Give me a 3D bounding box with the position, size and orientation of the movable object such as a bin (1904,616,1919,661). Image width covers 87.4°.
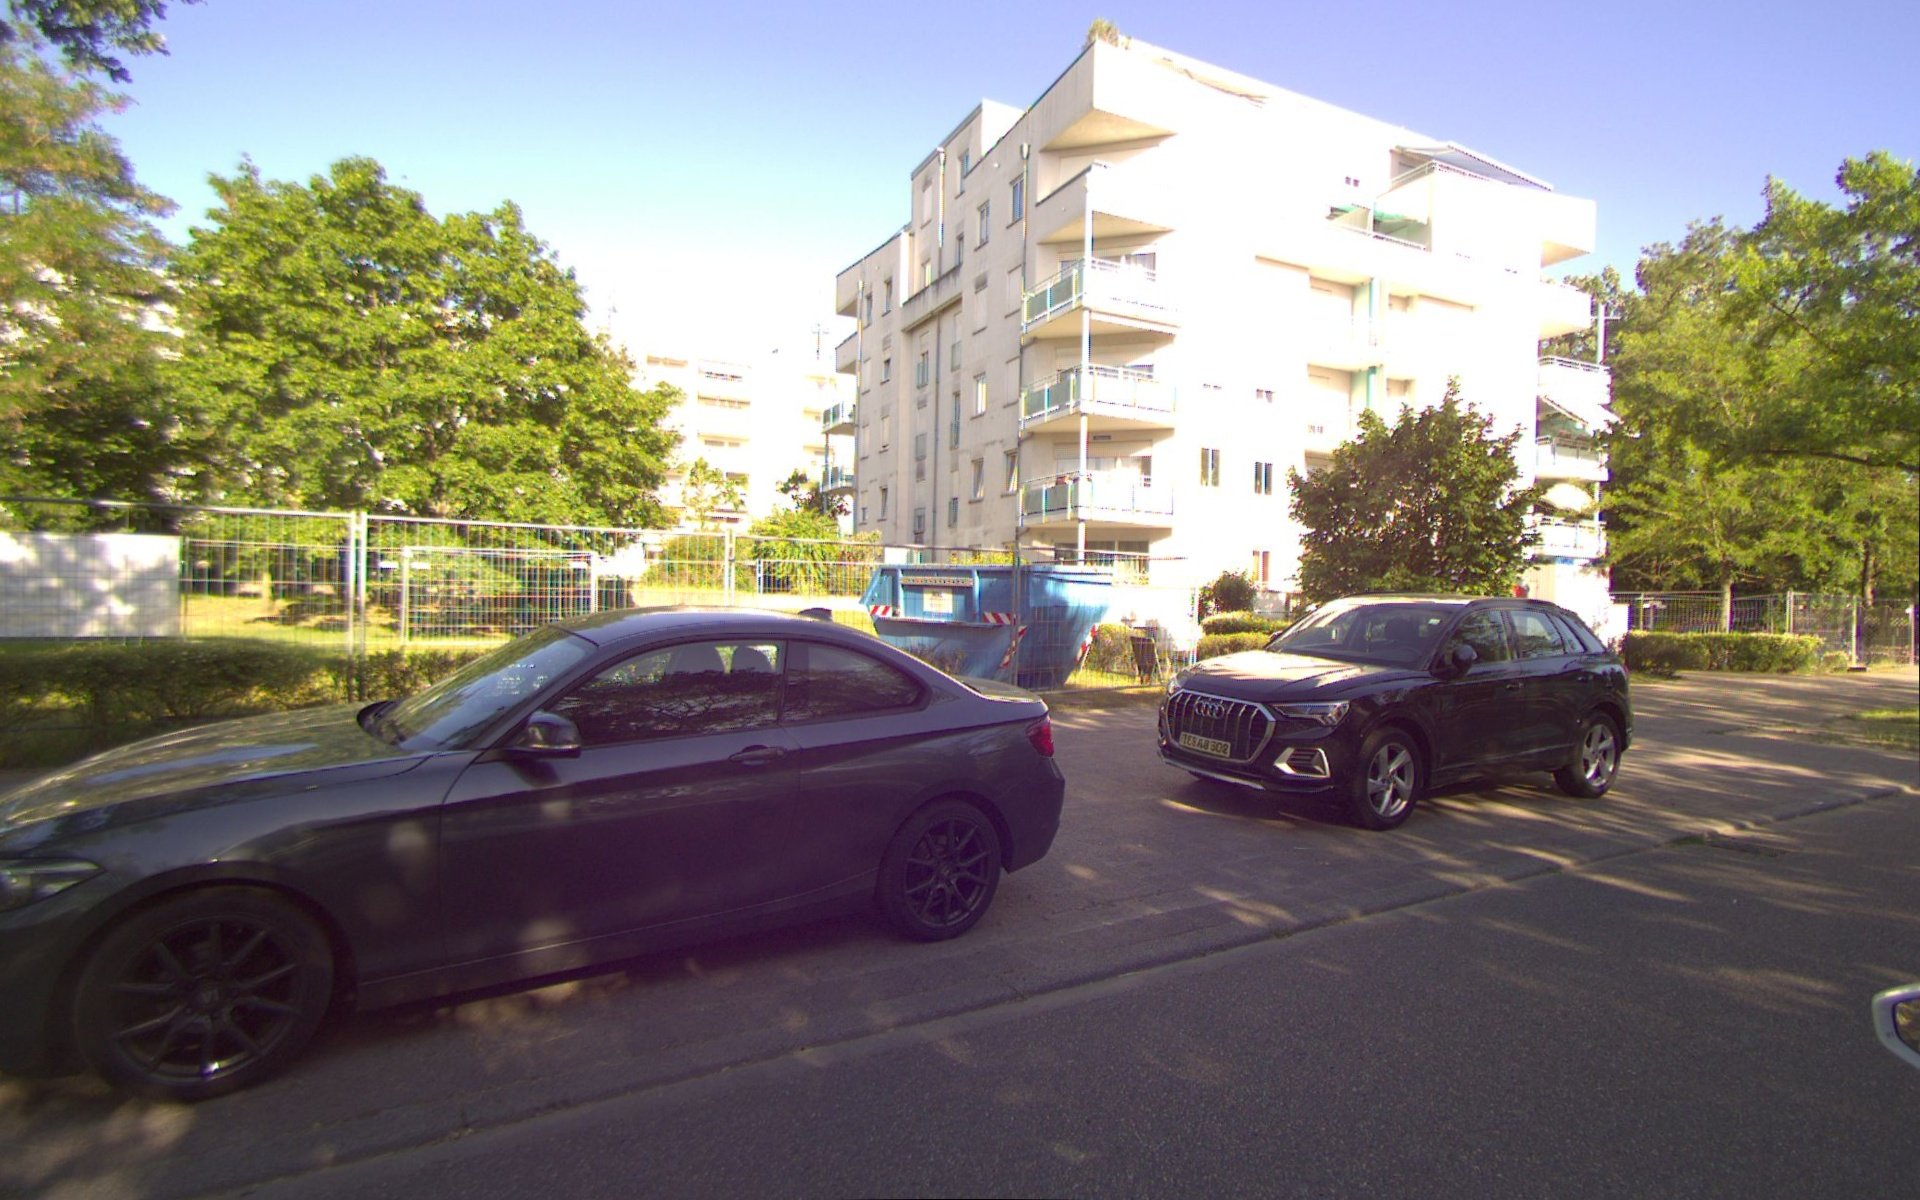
[{"bbox_3d":[31.439,1.239,32.137,1.300,1.454,1.273,1,0,-2],"label":"movable object such as a bin"}]

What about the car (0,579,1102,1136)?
[{"bbox_3d":[-1.485,0.708,4.465,4.095,1.452,1.705,1,2,-35],"label":"car"}]

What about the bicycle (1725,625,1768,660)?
[{"bbox_3d":[24.191,1.316,30.903,1.680,1.040,0.397,2,0,-29],"label":"bicycle"}]

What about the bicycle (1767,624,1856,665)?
[{"bbox_3d":[23.408,1.207,27.634,0.398,1.040,1.821,2,0,-43],"label":"bicycle"}]

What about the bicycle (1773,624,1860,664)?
[{"bbox_3d":[24.071,1.228,28.252,0.398,1.040,1.820,2,0,-43],"label":"bicycle"}]

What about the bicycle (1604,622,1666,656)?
[{"bbox_3d":[21.948,1.247,32.679,0.395,1.040,1.690,2,0,-24],"label":"bicycle"}]

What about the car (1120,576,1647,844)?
[{"bbox_3d":[3.495,0.702,8.099,4.172,1.643,1.766,1,2,-31],"label":"car"}]

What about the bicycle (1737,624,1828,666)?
[{"bbox_3d":[22.132,1.190,27.047,0.398,1.040,1.851,2,0,-43],"label":"bicycle"}]

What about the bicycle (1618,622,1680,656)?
[{"bbox_3d":[22.573,1.261,32.932,0.395,1.040,1.690,2,0,-24],"label":"bicycle"}]

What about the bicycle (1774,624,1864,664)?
[{"bbox_3d":[24.416,1.242,28.574,0.398,1.040,1.896,2,0,-43],"label":"bicycle"}]

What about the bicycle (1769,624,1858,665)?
[{"bbox_3d":[23.752,1.220,27.971,0.398,1.040,1.841,2,0,-43],"label":"bicycle"}]

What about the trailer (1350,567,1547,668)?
[{"bbox_3d":[11.355,0.383,23.329,4.290,2.149,1.856,1,2,-27],"label":"trailer"}]

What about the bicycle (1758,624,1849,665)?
[{"bbox_3d":[22.995,1.193,27.414,0.398,1.040,1.838,2,0,-43],"label":"bicycle"}]
